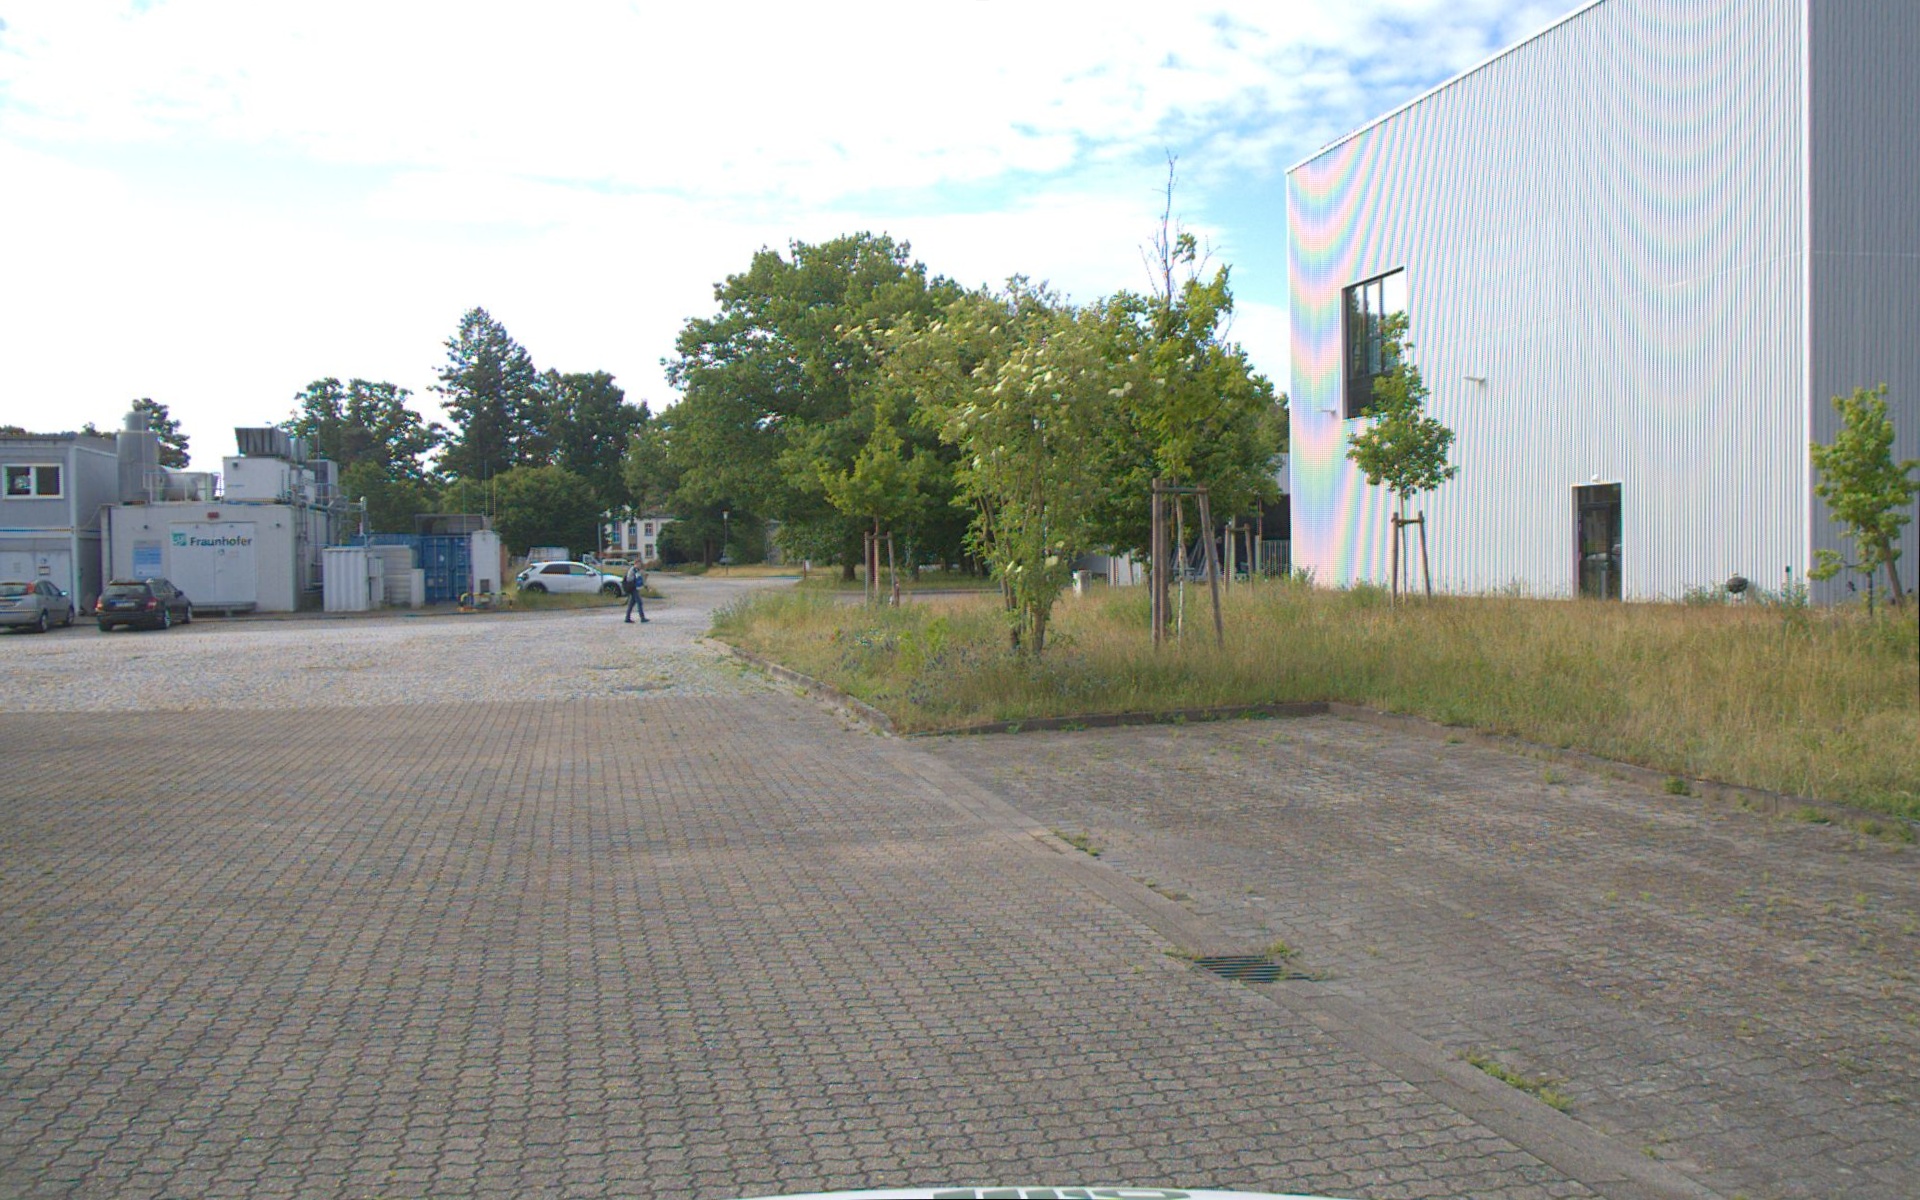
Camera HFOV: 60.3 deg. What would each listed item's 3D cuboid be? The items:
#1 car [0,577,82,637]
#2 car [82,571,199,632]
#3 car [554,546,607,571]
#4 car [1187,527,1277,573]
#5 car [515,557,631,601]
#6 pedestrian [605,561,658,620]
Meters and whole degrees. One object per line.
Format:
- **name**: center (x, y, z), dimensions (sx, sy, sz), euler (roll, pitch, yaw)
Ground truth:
- **car**: center (-26.904, 0.187, 47.696), dimensions (1.875, 1.501, 4.032), euler (-2, 3, -15)
- **car**: center (-23.784, -0.011, 48.193), dimensions (2.001, 1.478, 4.516), euler (-2, 3, -13)
- **car**: center (-38.218, -4.164, 166.481), dimensions (5.082, 2.378, 1.993), euler (-2, 2, -14)
- **car**: center (12.669, -2.320, 77.499), dimensions (2.204, 2.048, 5.317), euler (-2, 2, -14)
- **car**: center (-15.804, -0.884, 67.769), dimensions (4.453, 1.627, 1.995), euler (-2, 2, -11)
- **pedestrian**: center (-9.026, -0.262, 45.510), dimensions (1.052, 1.583, 1.076), euler (-1, 1, 11)
